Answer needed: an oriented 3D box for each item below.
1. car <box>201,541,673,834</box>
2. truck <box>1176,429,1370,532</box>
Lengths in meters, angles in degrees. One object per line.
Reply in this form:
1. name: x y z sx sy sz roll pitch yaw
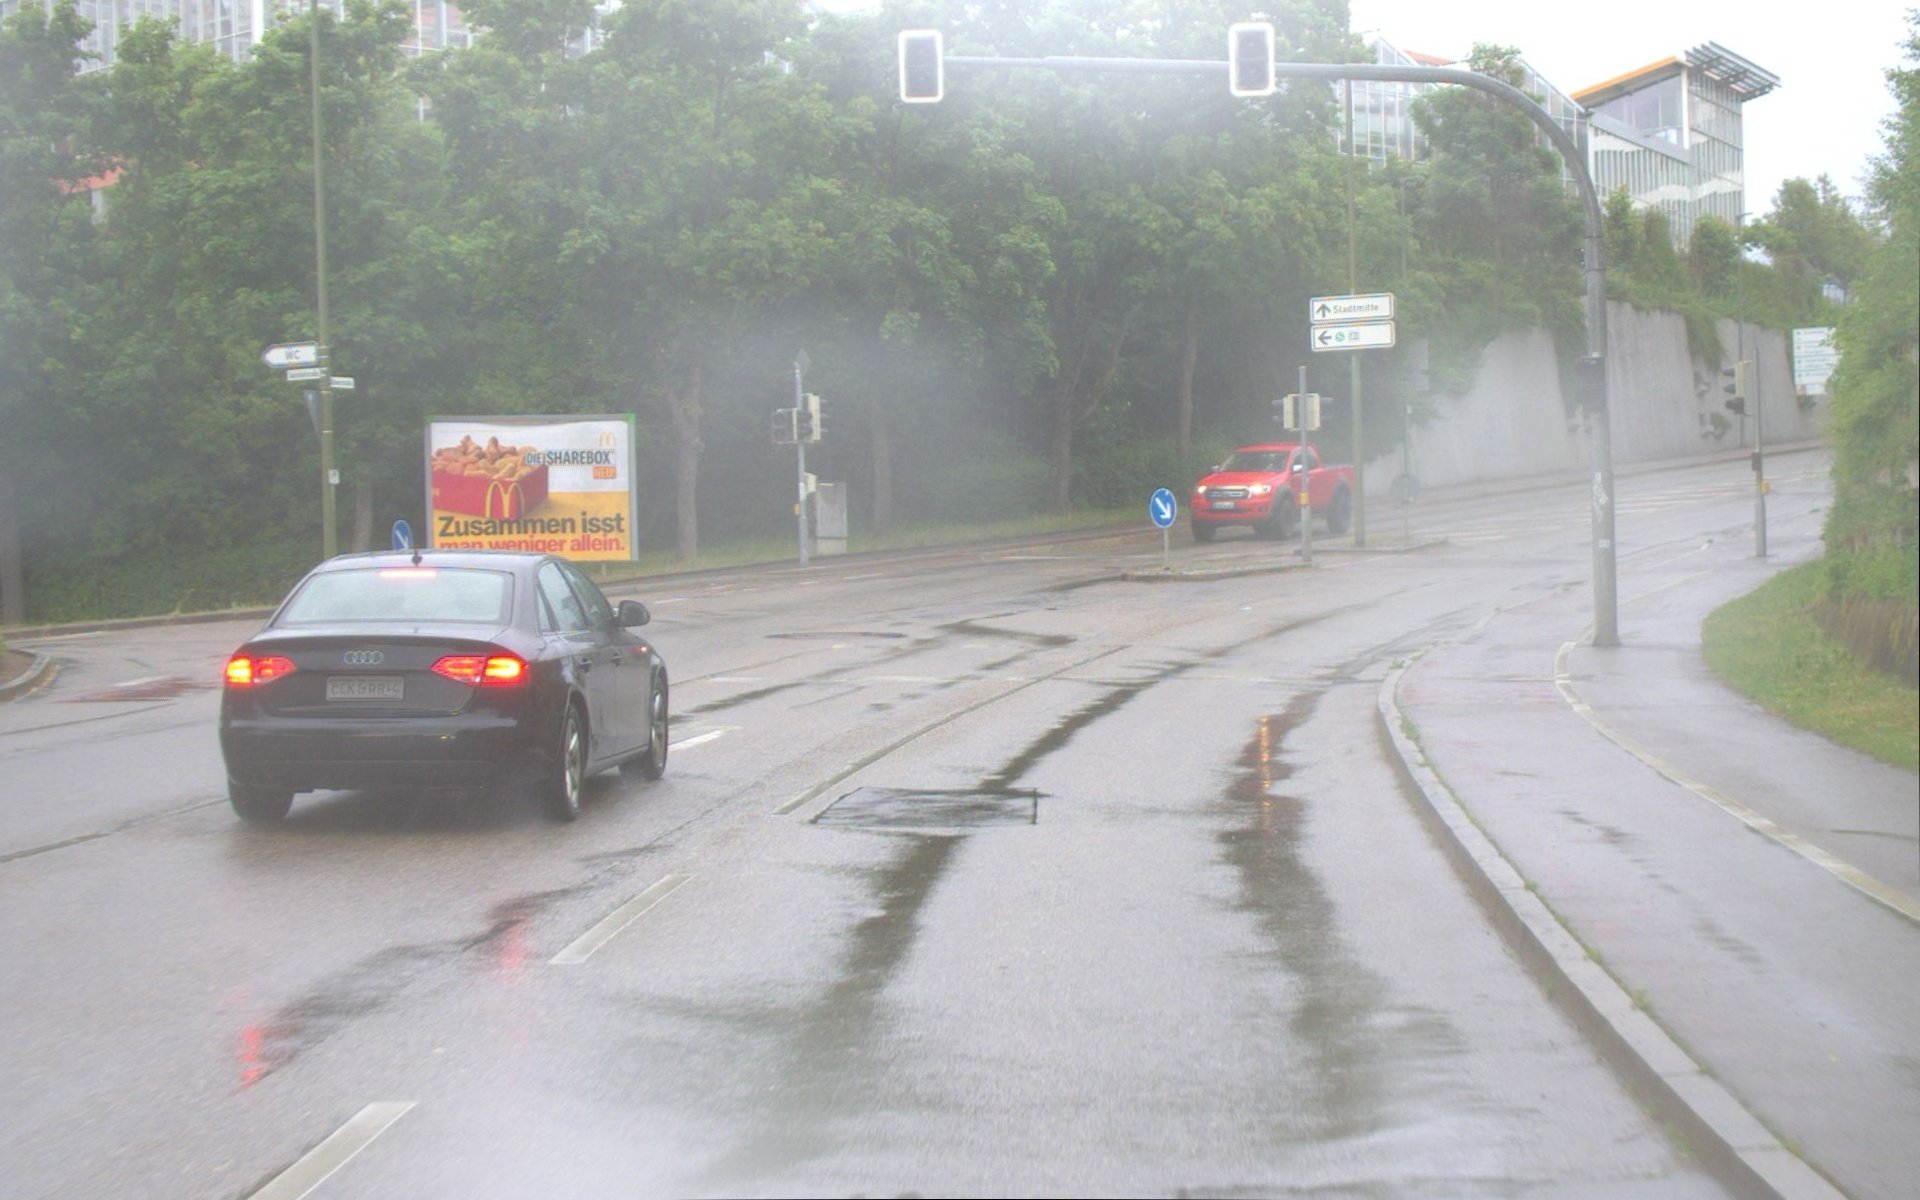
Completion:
1. car: -2.757 0.403 19.009 1.755 1.390 4.000 -1 2 4
2. truck: 6.447 -2.400 70.191 1.997 2.007 5.329 1 1 28
